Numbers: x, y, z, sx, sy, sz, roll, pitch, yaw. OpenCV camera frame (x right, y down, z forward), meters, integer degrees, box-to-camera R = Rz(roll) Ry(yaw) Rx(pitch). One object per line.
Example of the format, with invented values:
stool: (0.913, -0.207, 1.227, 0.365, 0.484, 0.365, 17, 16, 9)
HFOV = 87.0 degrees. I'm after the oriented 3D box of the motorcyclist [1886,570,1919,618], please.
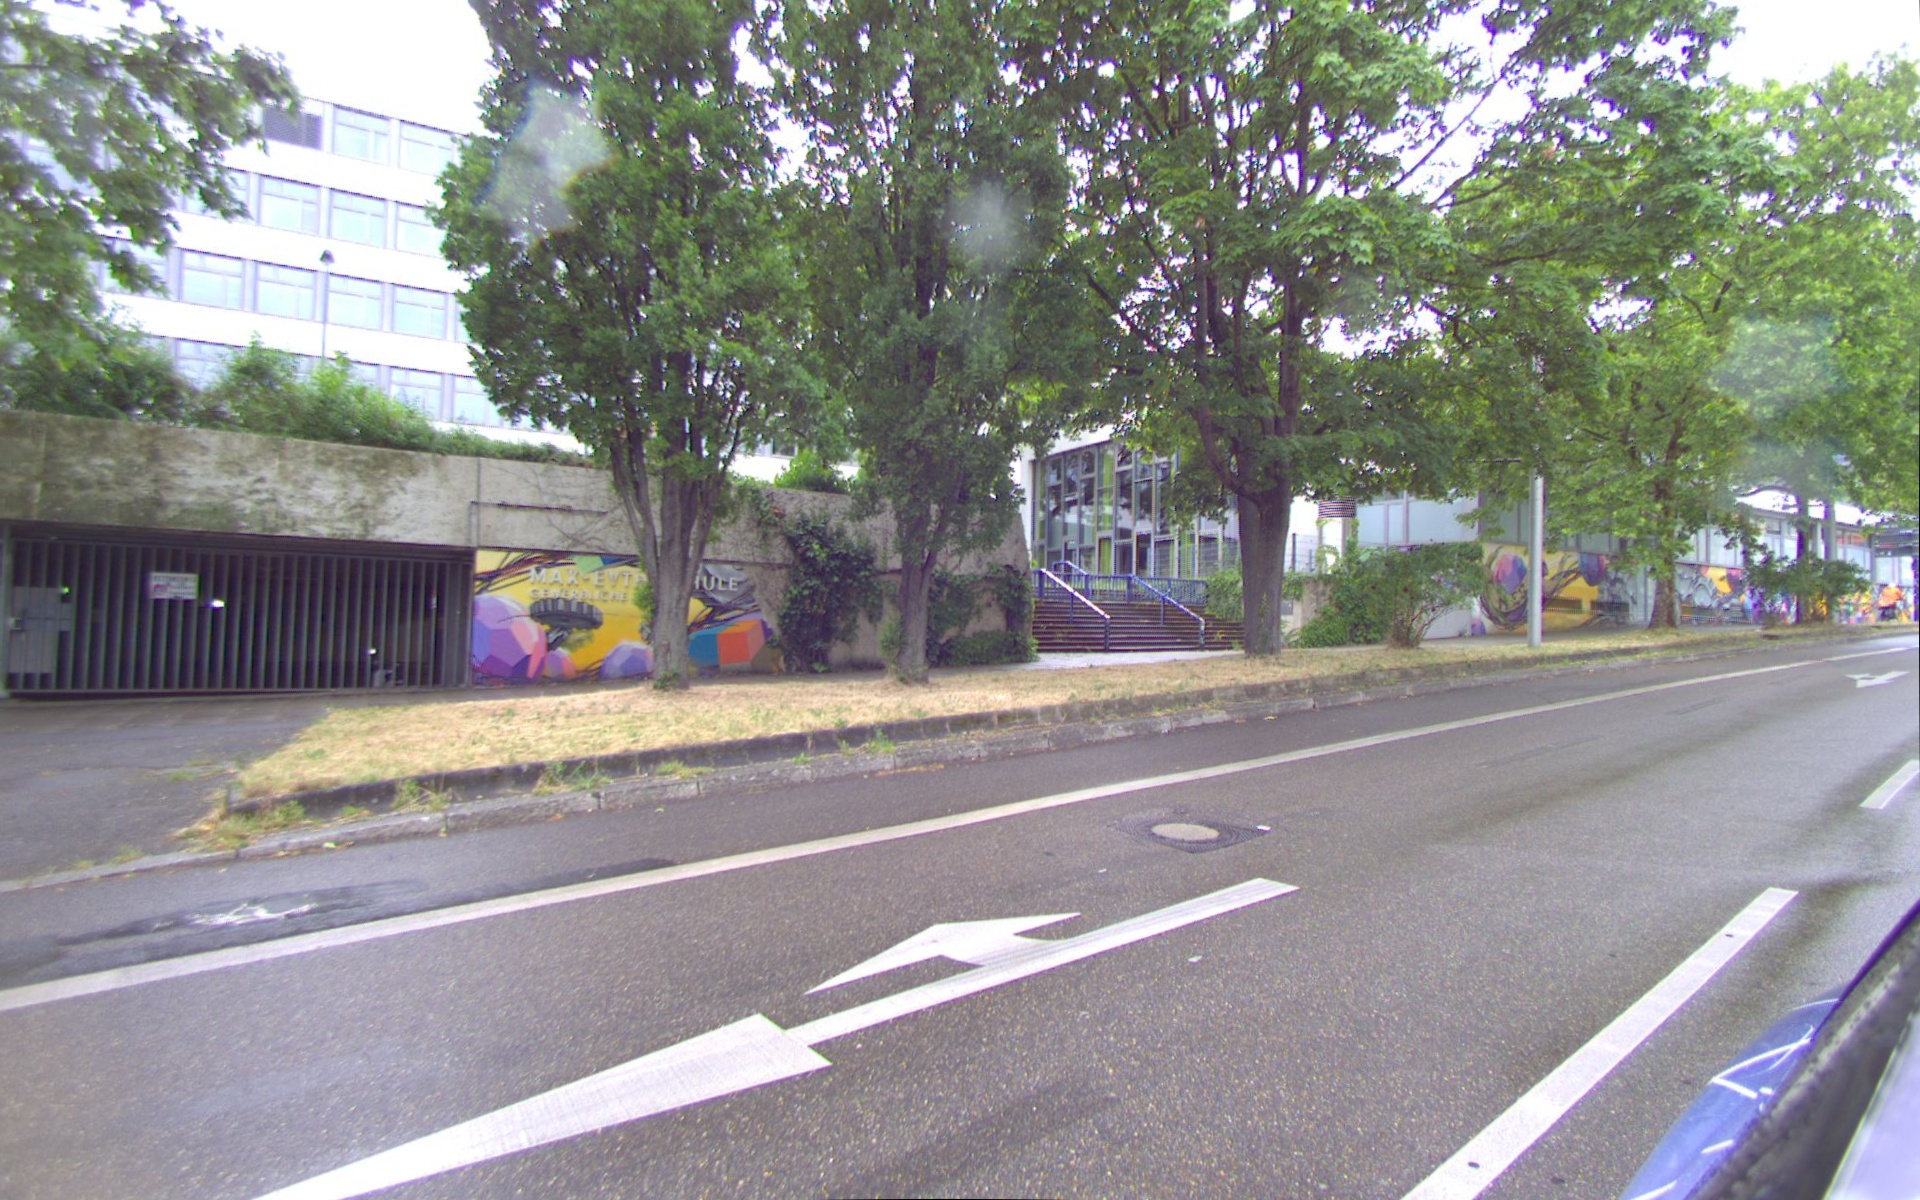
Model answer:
motorcyclist: (40.541, -0.251, 43.515, 0.982, 2.040, 0.755, 0, -2, -33)
